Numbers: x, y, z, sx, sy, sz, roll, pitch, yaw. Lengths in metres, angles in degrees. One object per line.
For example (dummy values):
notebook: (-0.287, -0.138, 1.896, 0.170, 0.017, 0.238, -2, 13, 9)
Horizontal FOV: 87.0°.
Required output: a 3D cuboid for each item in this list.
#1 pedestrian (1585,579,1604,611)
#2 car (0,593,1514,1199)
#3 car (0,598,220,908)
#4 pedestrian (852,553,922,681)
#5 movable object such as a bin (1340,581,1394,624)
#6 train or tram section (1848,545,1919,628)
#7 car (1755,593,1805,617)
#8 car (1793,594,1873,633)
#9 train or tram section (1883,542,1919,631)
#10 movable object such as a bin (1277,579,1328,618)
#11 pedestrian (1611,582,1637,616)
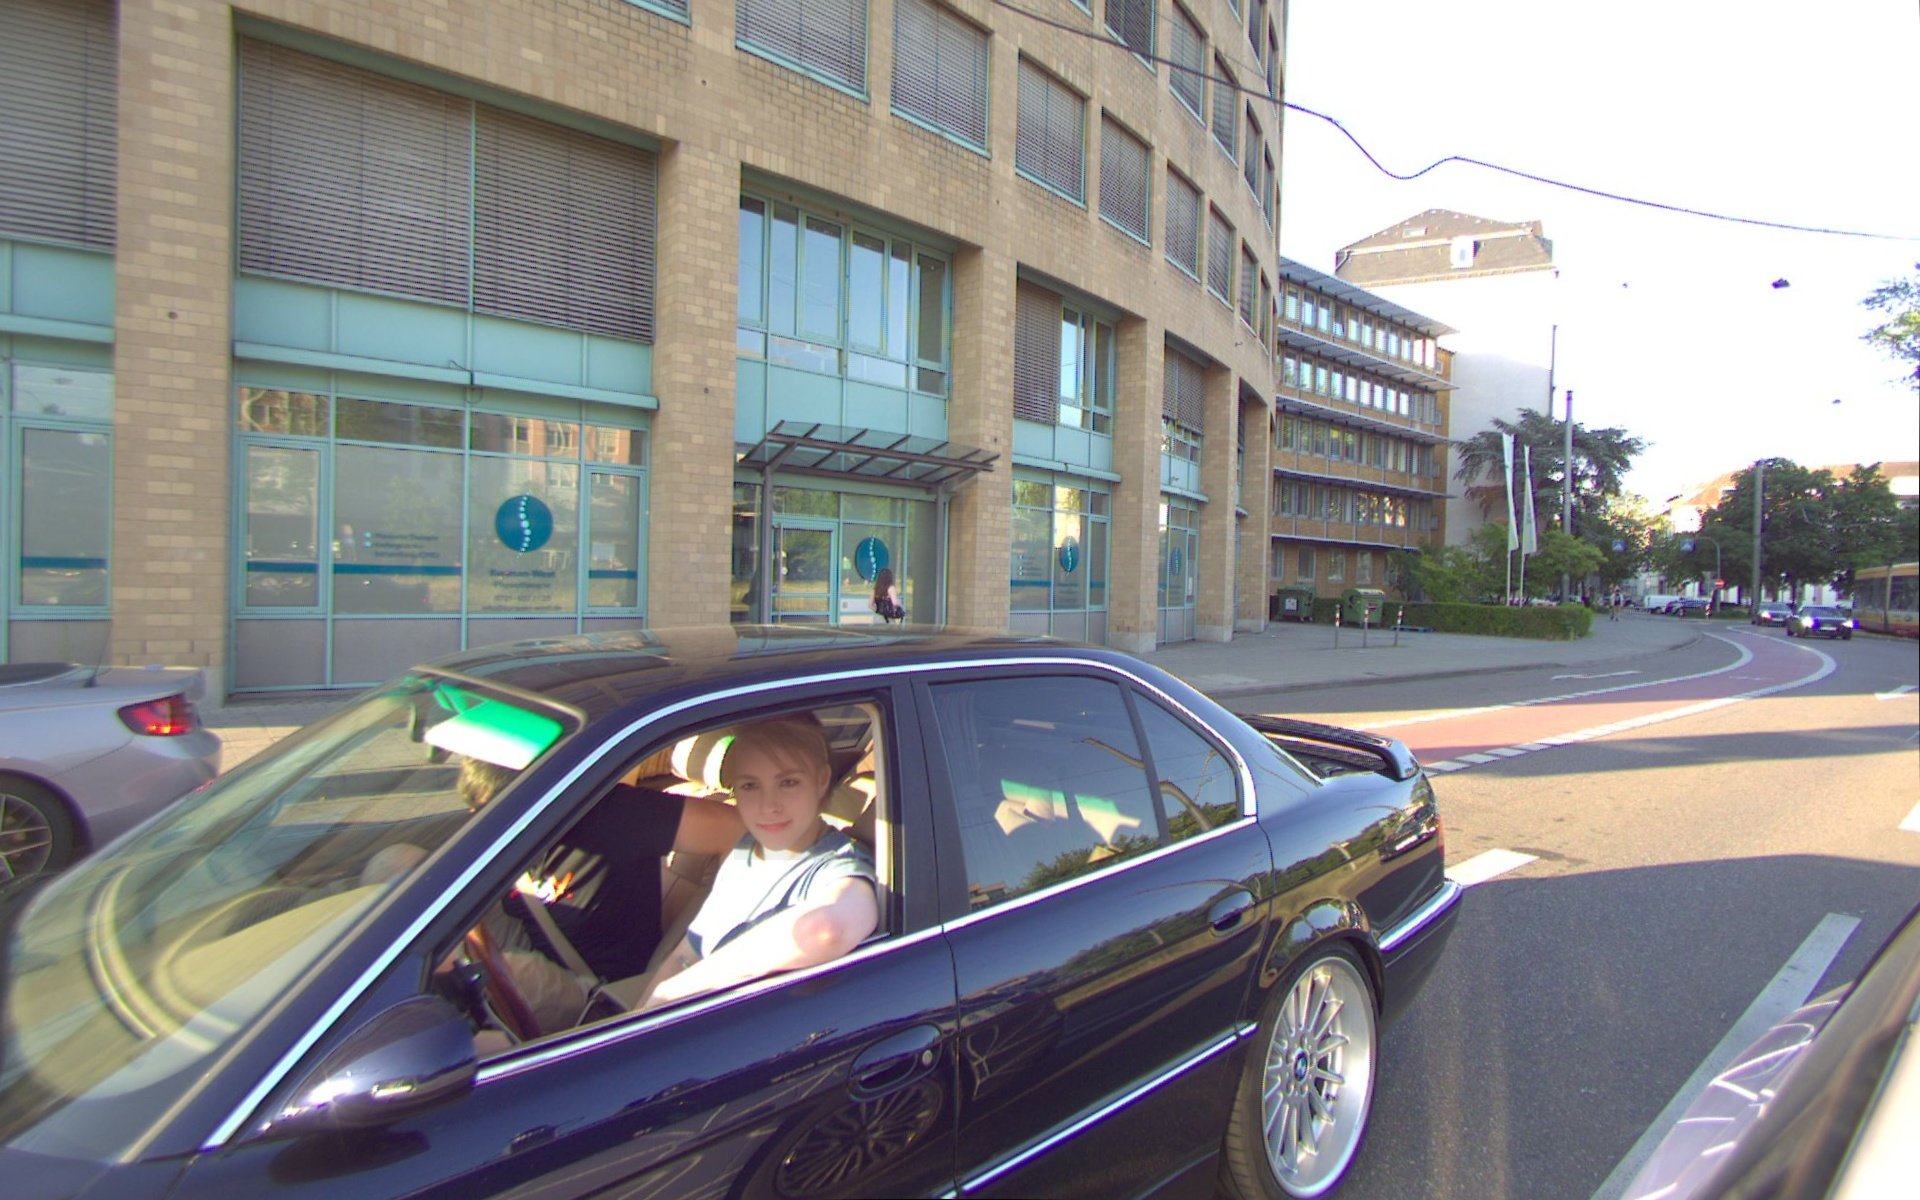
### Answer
pedestrian: (36.985, -0.296, 58.953, 0.711, 1.830, 0.728, 0, 1, -41)
car: (-0.718, 0.701, 2.324, 4.656, 1.402, 1.997, 0, 1, -41)
car: (-5.914, 0.699, 4.467, 4.153, 1.403, 1.746, 0, 0, -41)
pedestrian: (-1.010, 0.216, 13.951, 0.702, 1.702, 0.626, 0, 1, -44)
movable object such as a bin: (14.868, 0.074, 36.955, 1.311, 1.477, 1.424, 0, 1, -45)
train or tram section: (47.527, -0.656, 50.916, 2.897, 3.785, 12.037, 2, 1, 35)
car: (49.577, 0.318, 61.175, 3.932, 1.405, 1.756, 0, -1, -42)
car: (37.321, 0.537, 43.370, 1.985, 1.479, 4.095, 2, 1, 32)
train or tram section: (41.255, -0.528, 41.002, 2.862, 3.785, 12.059, 2, 1, 29)
movable object such as a bin: (13.364, -0.078, 39.513, 1.310, 1.477, 1.425, 0, 1, -43)
pedestrian: (38.882, -0.077, 59.279, 0.898, 1.918, 1.121, 1, 1, 15)
